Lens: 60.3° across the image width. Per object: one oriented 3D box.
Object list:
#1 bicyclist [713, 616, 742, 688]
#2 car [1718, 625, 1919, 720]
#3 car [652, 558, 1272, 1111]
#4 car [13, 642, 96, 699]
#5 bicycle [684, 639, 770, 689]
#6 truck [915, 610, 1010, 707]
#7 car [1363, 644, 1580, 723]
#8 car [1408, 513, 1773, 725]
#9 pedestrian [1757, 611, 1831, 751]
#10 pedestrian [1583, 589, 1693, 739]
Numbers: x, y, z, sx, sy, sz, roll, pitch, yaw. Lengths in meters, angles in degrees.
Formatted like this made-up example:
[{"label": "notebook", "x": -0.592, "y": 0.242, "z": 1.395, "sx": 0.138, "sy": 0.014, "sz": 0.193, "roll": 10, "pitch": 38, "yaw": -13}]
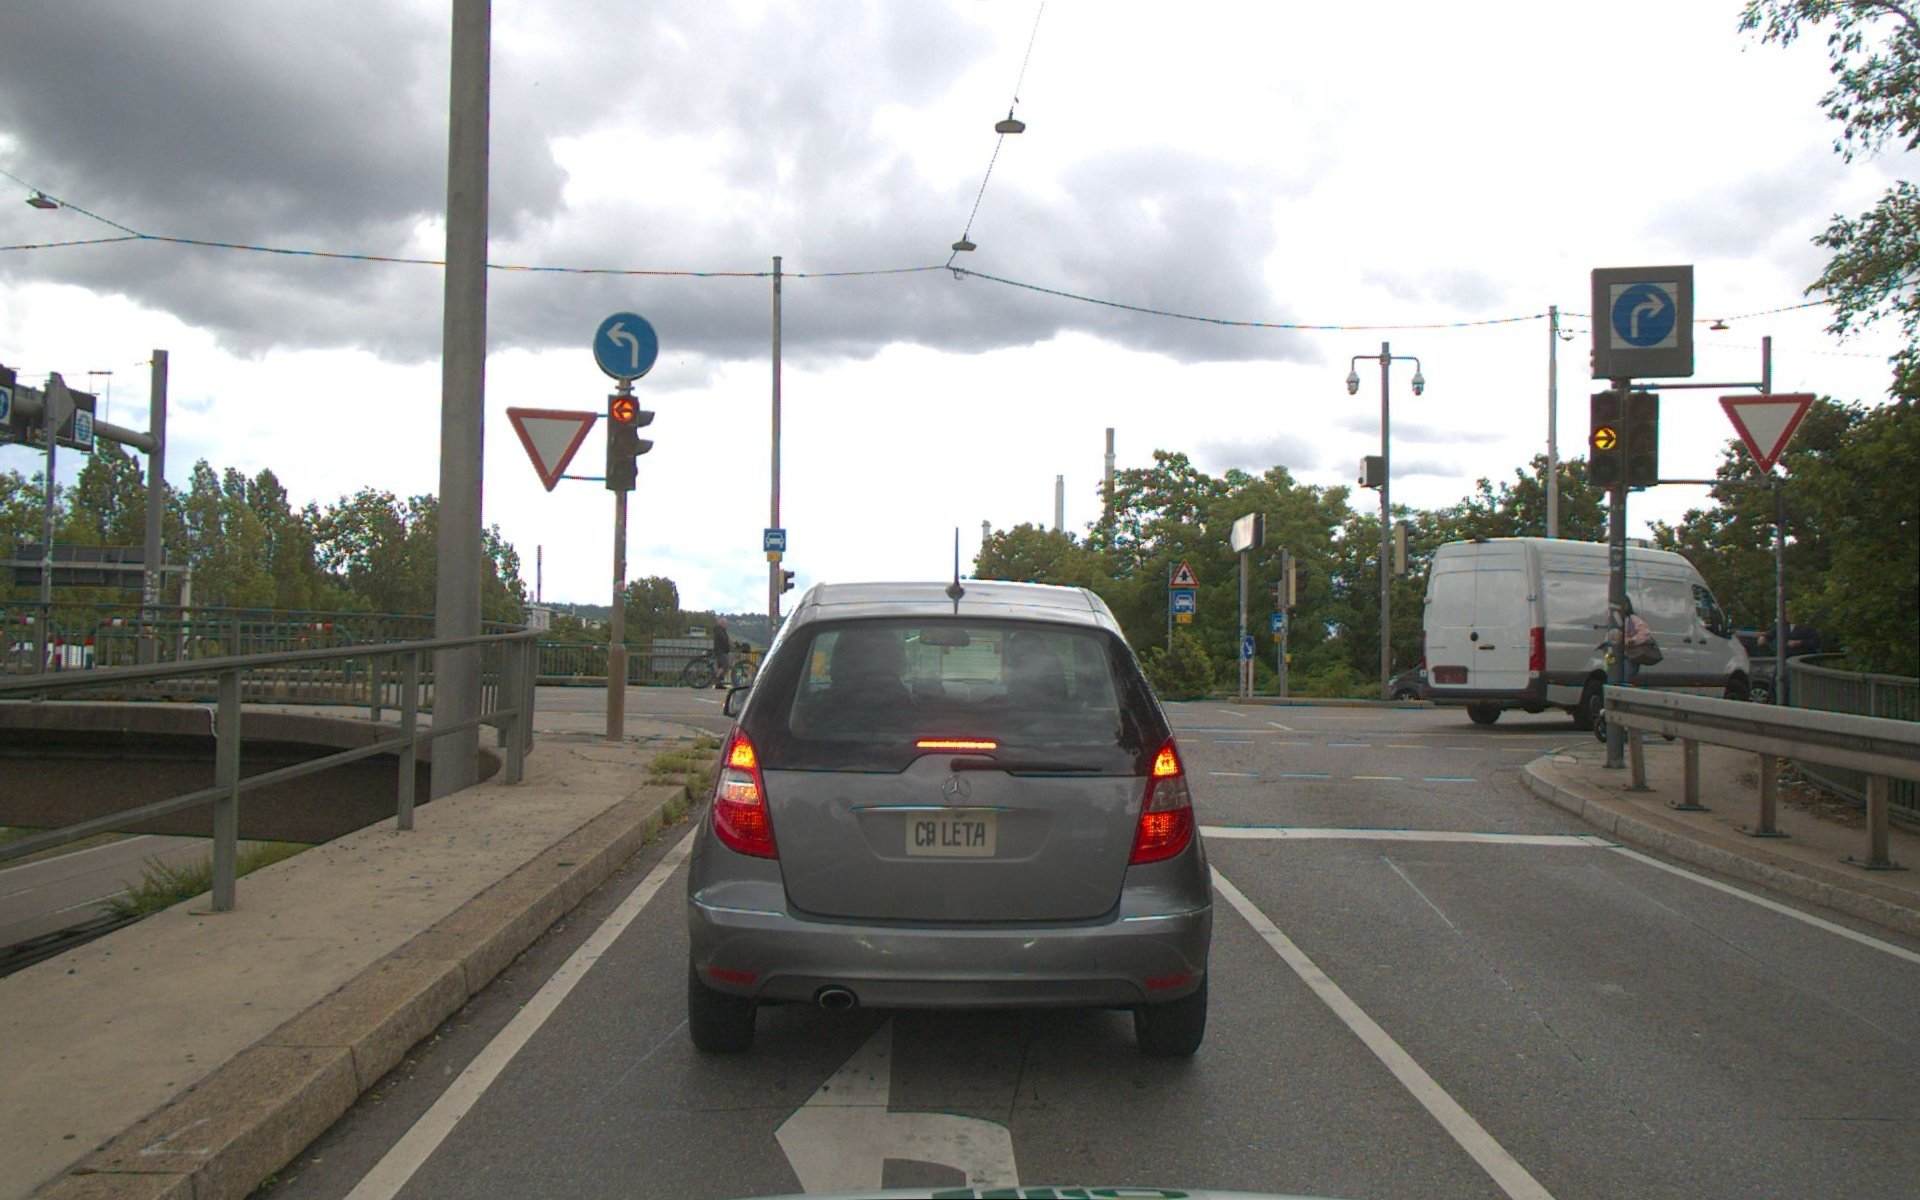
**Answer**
[{"label": "bicyclist", "x": -5.614, "y": 1.245, "z": 39.949, "sx": 0.641, "sy": 1.703, "sz": 0.867, "roll": 0, "pitch": 0, "yaw": -11}, {"label": "car", "x": 16.788, "y": 1.350, "z": 31.479, "sx": 3.904, "sy": 1.694, "sz": 1.813, "roll": 0, "pitch": 0, "yaw": 2}, {"label": "car", "x": 0.050, "y": 0.661, "z": 6.875, "sx": 1.819, "sy": 1.616, "sz": 4.001, "roll": 0, "pitch": 1, "yaw": 1}, {"label": "car", "x": -38.961, "y": 3.007, "z": 71.238, "sx": 1.819, "sy": 2.254, "sz": 3.659, "roll": 0, "pitch": 0, "yaw": -5}, {"label": "bicycle", "x": -5.626, "y": 1.536, "z": 39.935, "sx": 1.996, "sy": 1.144, "sz": 0.927, "roll": 0, "pitch": 0, "yaw": -12}, {"label": "truck", "x": -0.035, "y": 2.284, "z": 69.165, "sx": 2.736, "sy": 3.580, "sz": 10.232, "roll": 0, "pitch": 0, "yaw": -7}, {"label": "car", "x": 13.398, "y": 2.136, "z": 43.393, "sx": 5.126, "sy": 1.802, "sz": 2.001, "roll": 1, "pitch": 0, "yaw": 31}, {"label": "car", "x": 9.704, "y": 0.273, "z": 25.080, "sx": 6.716, "sy": 2.832, "sz": 2.086, "roll": -1, "pitch": -3, "yaw": -40}, {"label": "pedestrian", "x": 10.172, "y": 0.968, "z": 20.162, "sx": 0.767, "sy": 1.647, "sz": 0.676, "roll": 0, "pitch": 0, "yaw": 30}, {"label": "pedestrian", "x": 7.900, "y": 0.747, "z": 19.316, "sx": 0.816, "sy": 1.707, "sz": 0.978, "roll": 0, "pitch": -3, "yaw": -4}]
